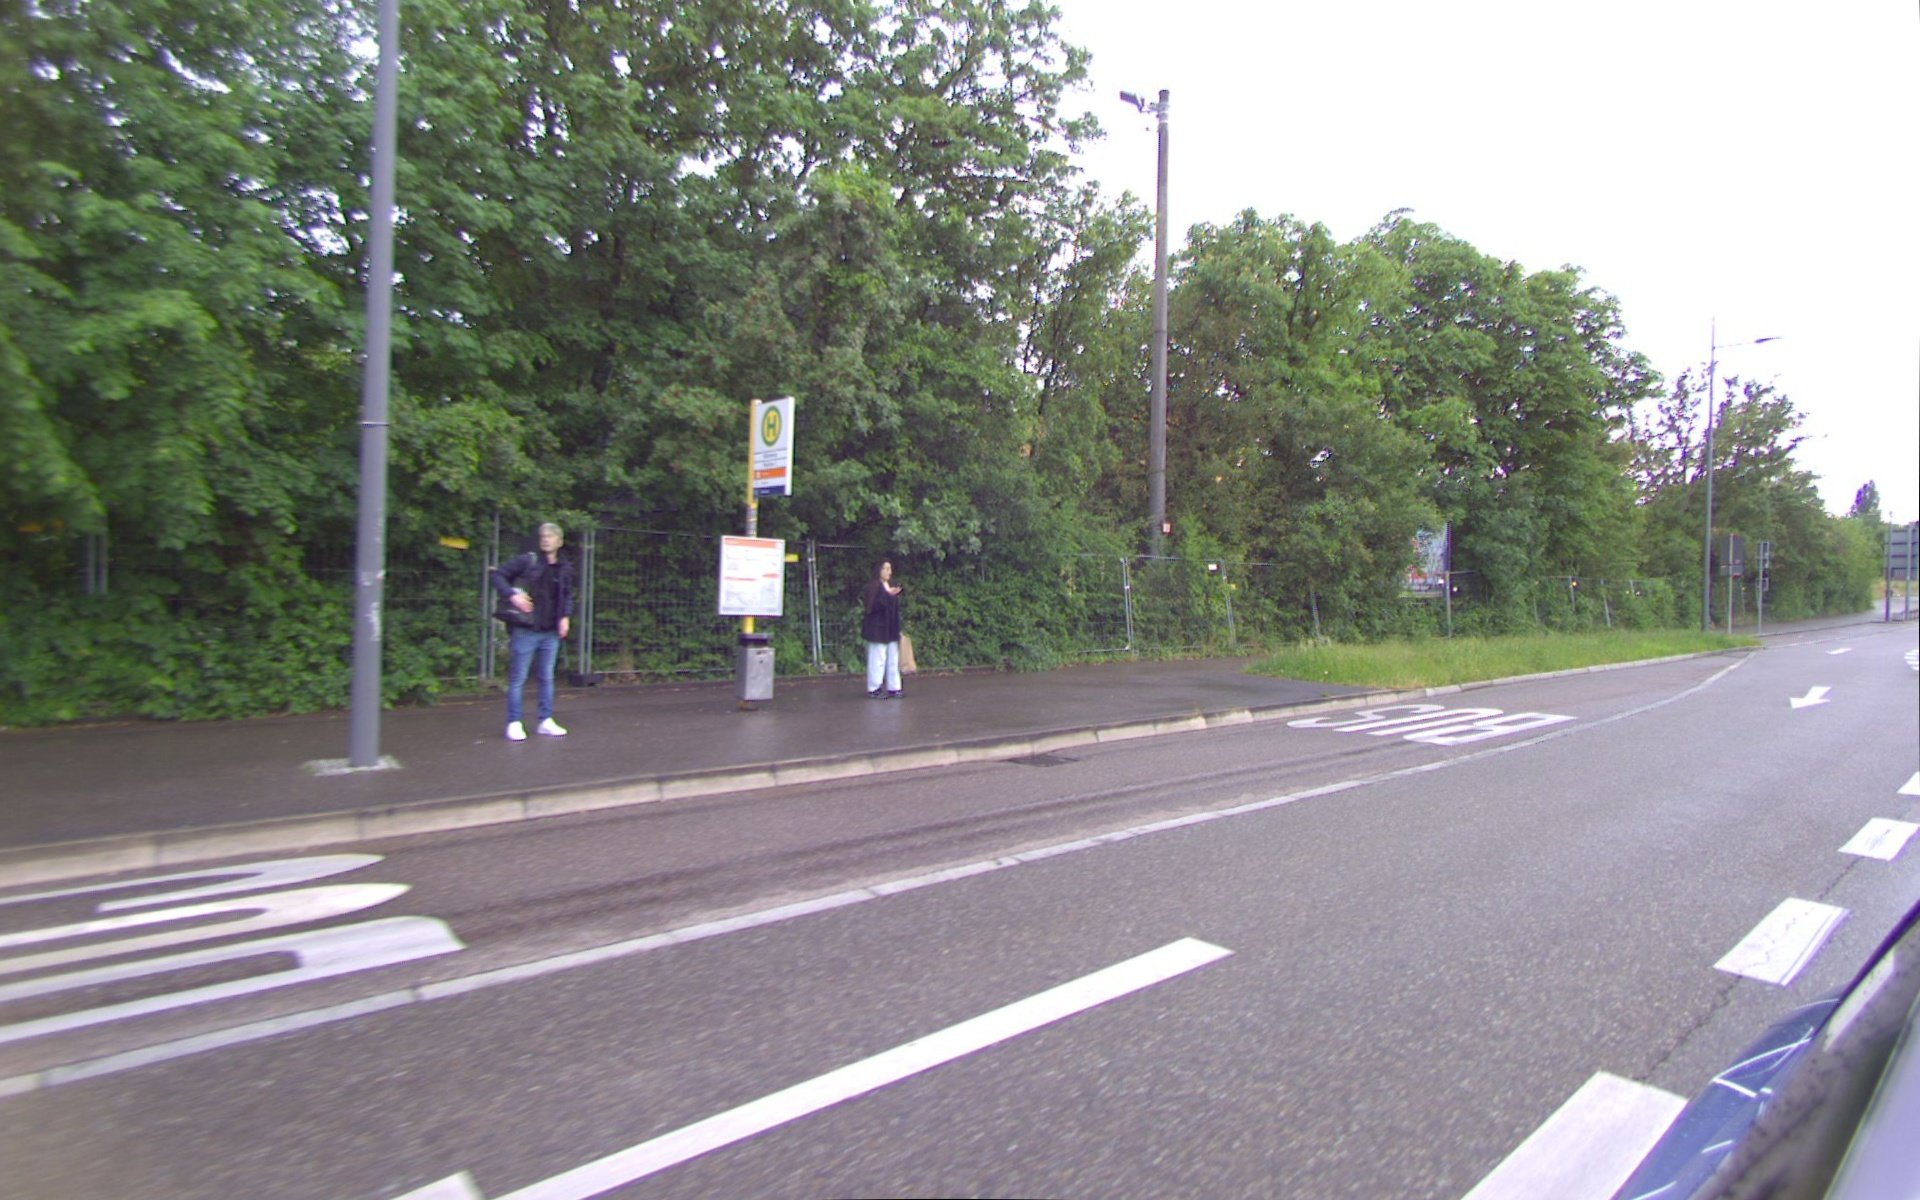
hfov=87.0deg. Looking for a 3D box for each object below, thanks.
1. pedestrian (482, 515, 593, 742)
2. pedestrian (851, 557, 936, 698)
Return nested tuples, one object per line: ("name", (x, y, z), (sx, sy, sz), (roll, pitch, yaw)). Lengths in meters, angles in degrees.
("pedestrian", (-3.781, 0.233, 9.051), (0.640, 1.924, 0.707), (2, 1, 44))
("pedestrian", (-0.821, 0.314, 12.506), (0.676, 1.678, 0.780), (2, 1, 44))
